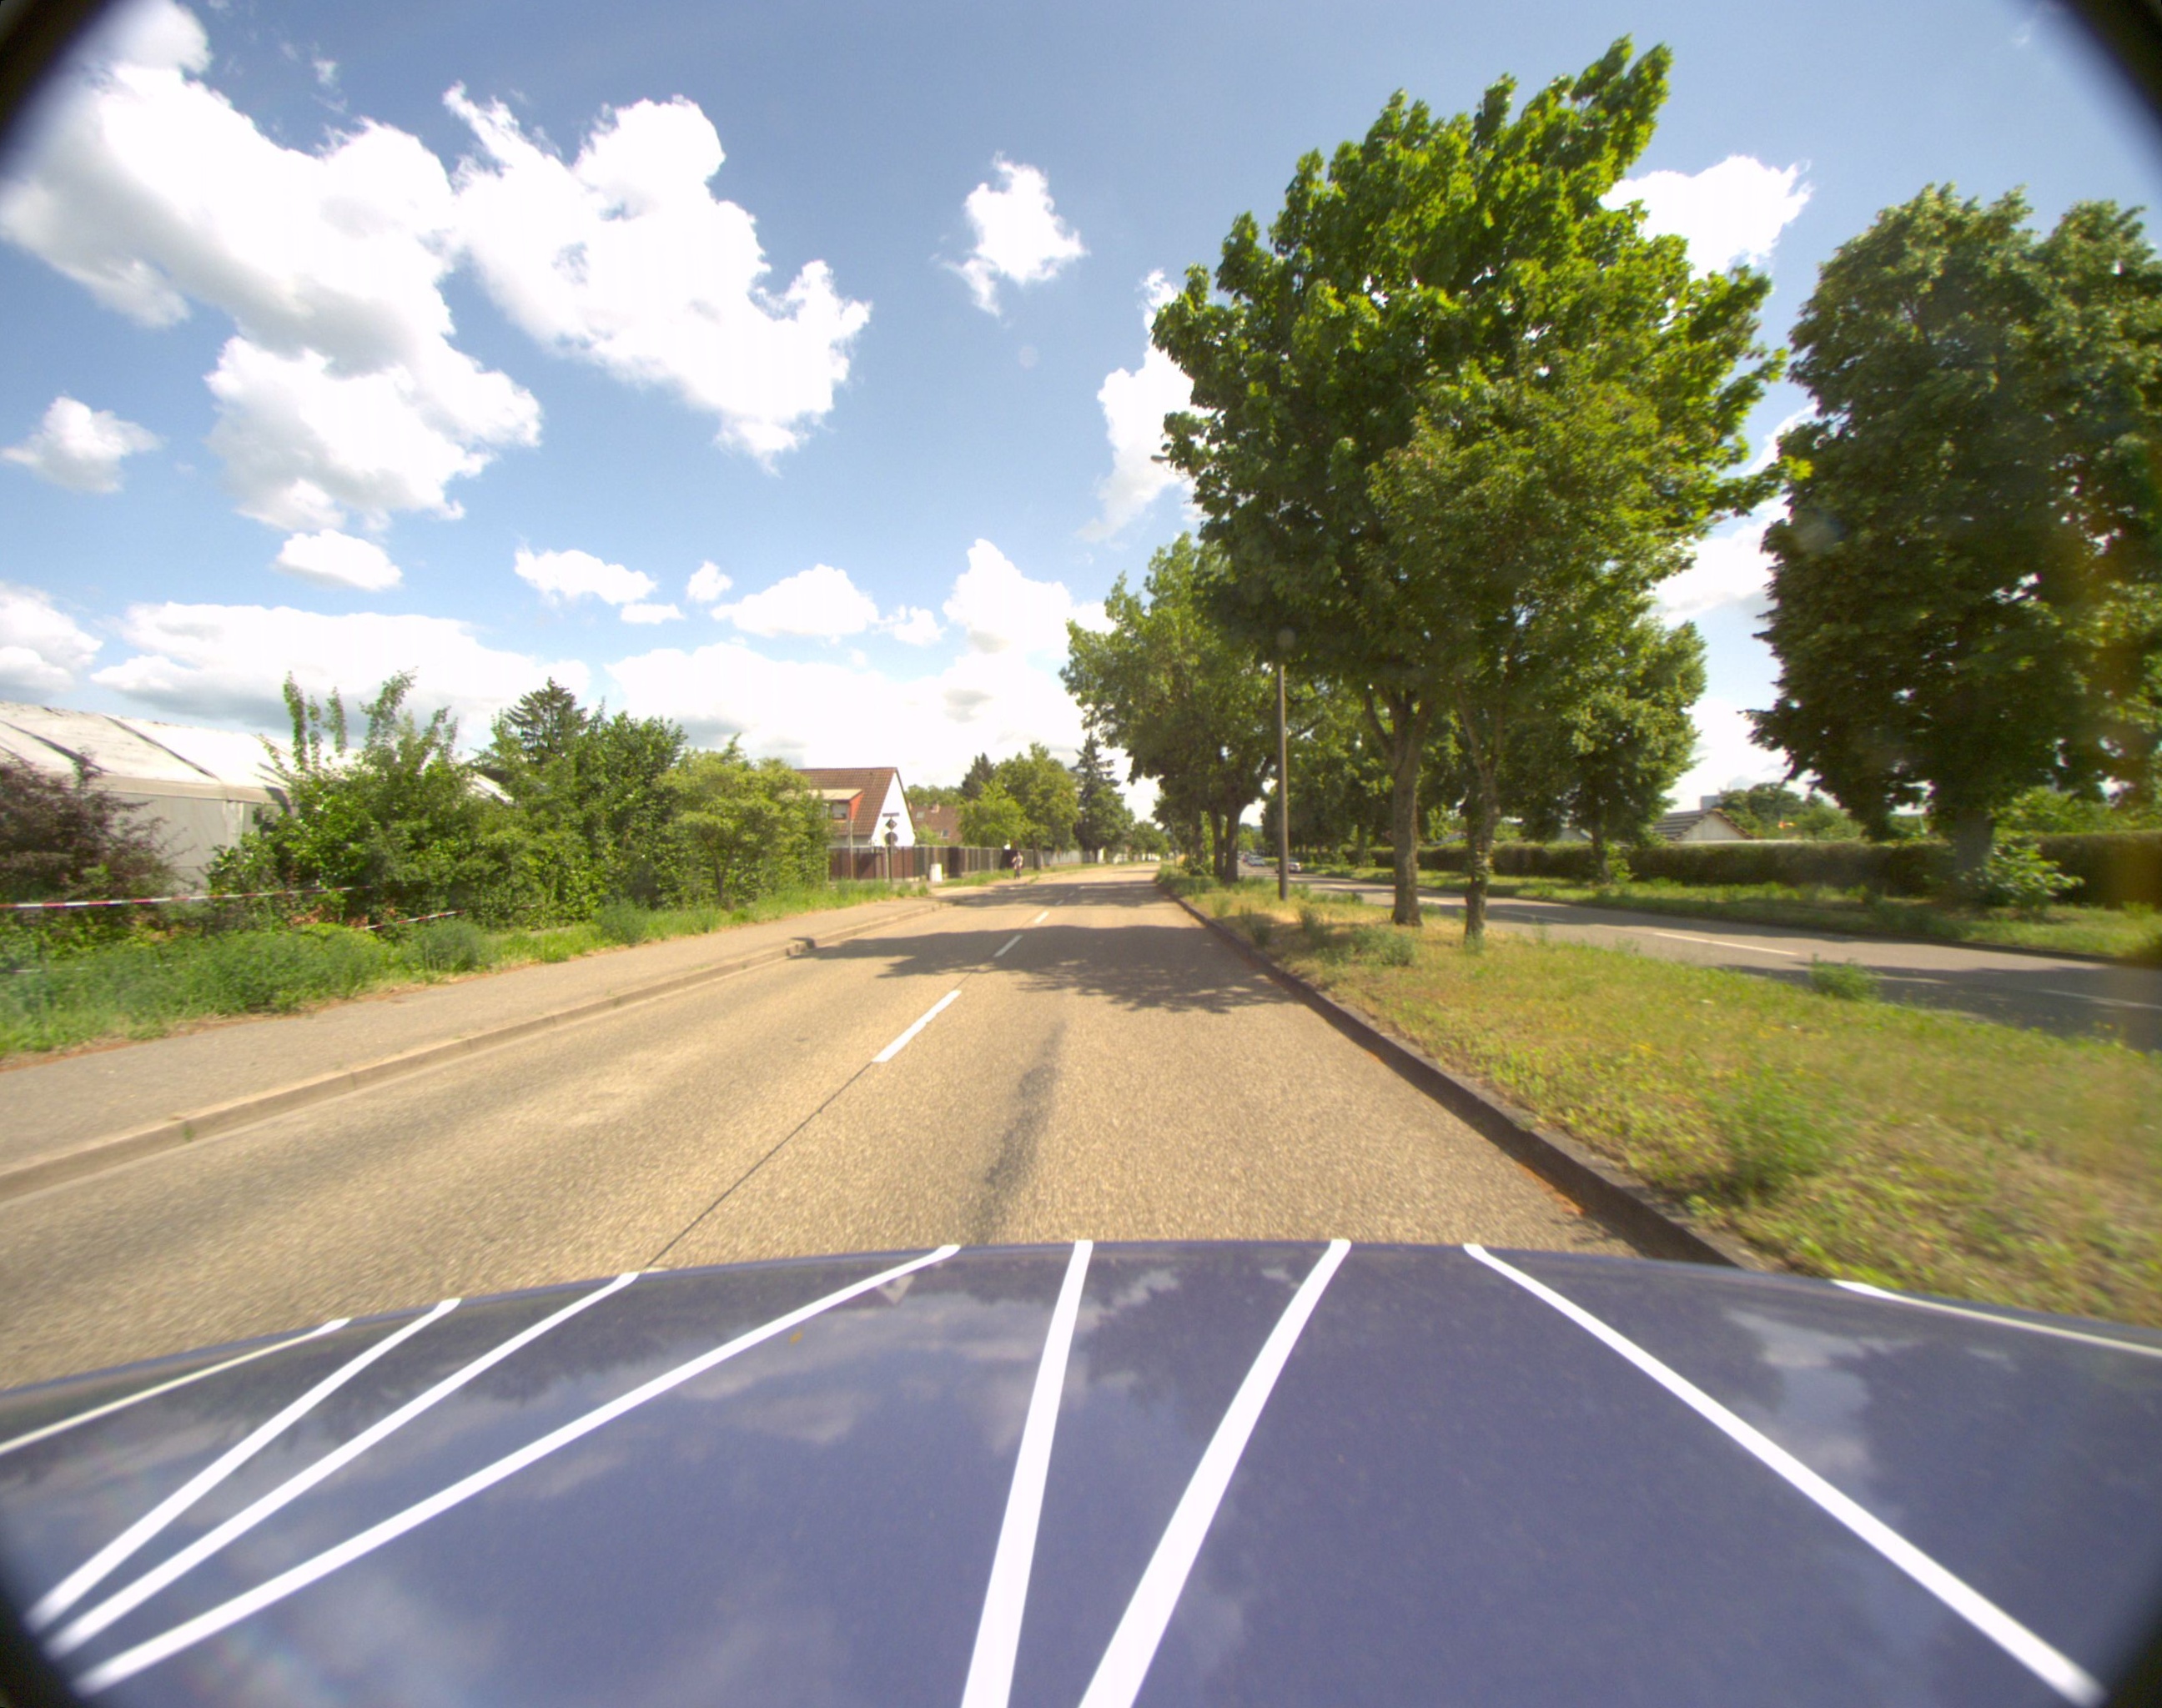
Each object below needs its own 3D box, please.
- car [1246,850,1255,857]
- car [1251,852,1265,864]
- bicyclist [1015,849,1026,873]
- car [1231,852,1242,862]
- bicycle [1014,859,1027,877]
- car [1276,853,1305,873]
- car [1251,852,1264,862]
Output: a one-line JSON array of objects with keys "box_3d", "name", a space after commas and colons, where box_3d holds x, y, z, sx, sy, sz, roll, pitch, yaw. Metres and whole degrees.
[{"box_3d": [34.636, -0.103, 155.022, 1.739, 1.577, 4.116, 1, 0, 12], "name": "car"}, {"box_3d": [23.420, 0.539, 100.608, 1.739, 1.577, 4.116, 1, 0, 12], "name": "car"}, {"box_3d": [-4.023, 0.461, 50.791, 0.620, 1.625, 0.700, -1, 1, 3], "name": "bicyclist"}, {"box_3d": [25.826, 0.487, 125.983, 1.739, 1.577, 4.116, 1, 0, 12], "name": "car"}, {"box_3d": [-4.023, 0.944, 50.742, 0.627, 1.145, 1.739, -1, 0, 3], "name": "bicycle"}, {"box_3d": [17.365, 0.757, 63.137, 1.740, 1.577, 4.114, 1, 0, 8], "name": "car"}, {"box_3d": [26.761, 0.449, 115.389, 1.739, 1.577, 4.116, 1, 0, 12], "name": "car"}]
